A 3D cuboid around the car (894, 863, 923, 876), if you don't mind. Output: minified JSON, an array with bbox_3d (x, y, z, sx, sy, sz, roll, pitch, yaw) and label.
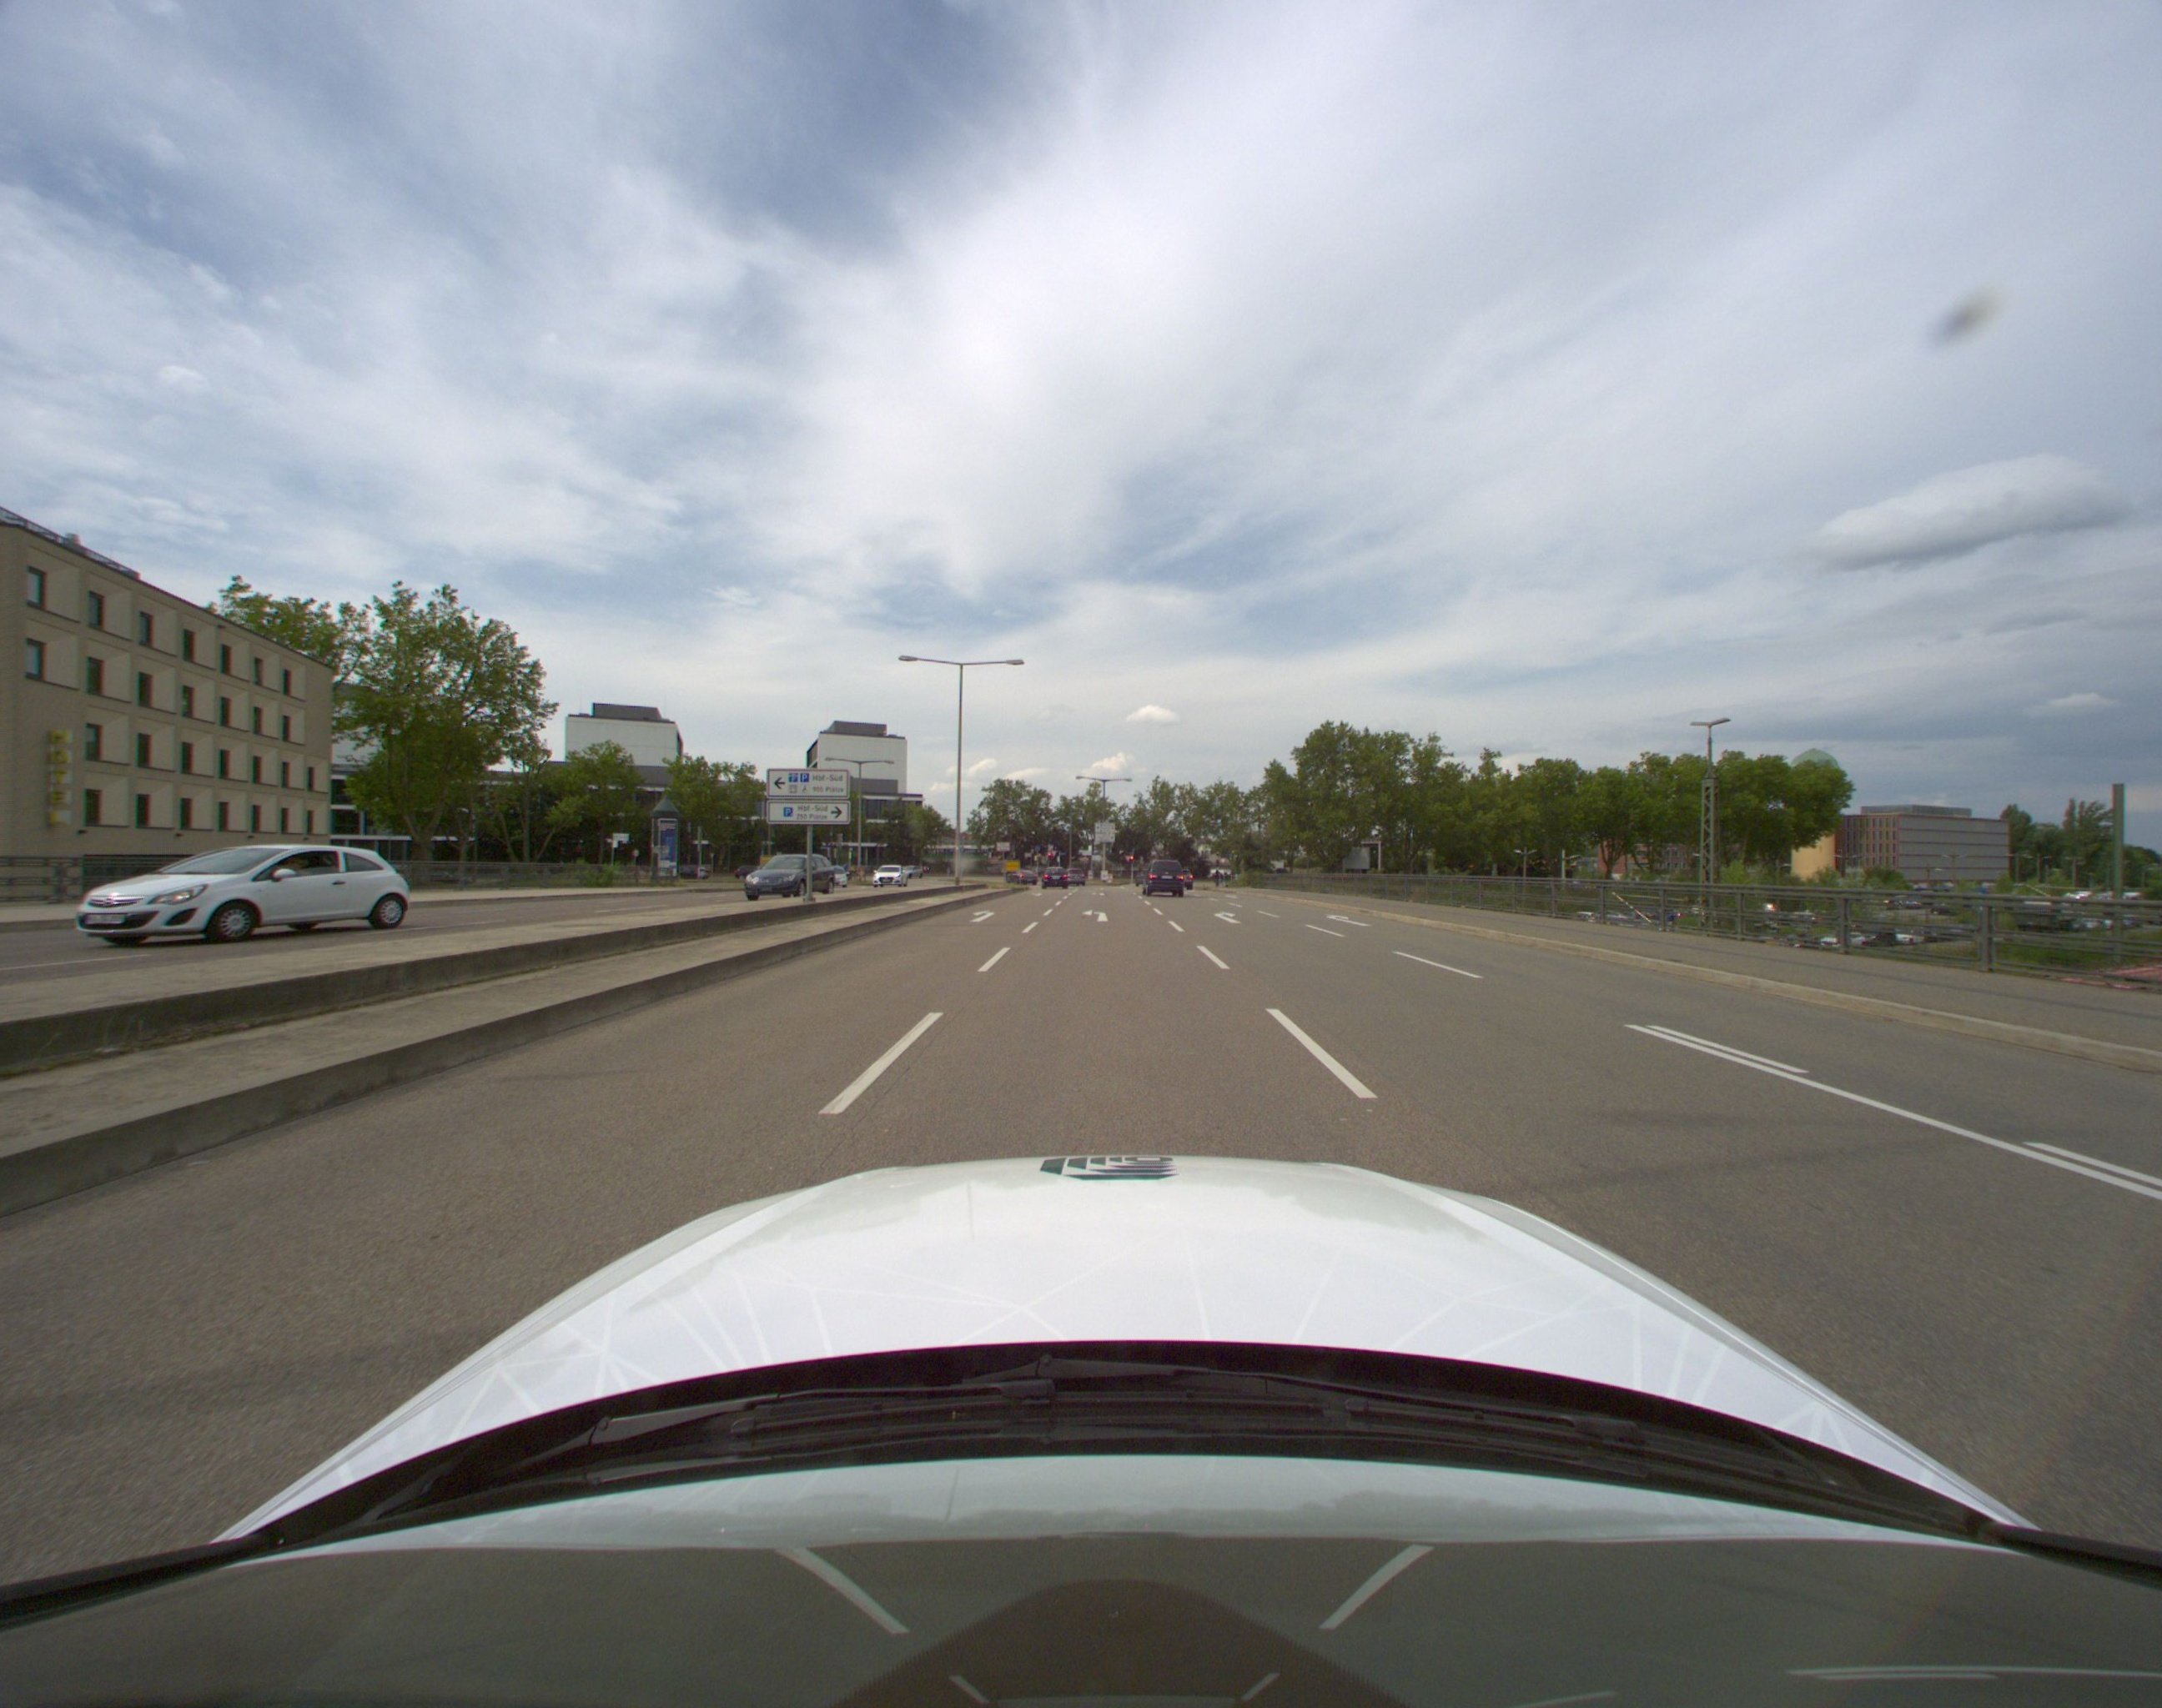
[{"bbox_3d":[-19.408,1.741,91.735,1.604,1.410,3.876,-1,-2,16],"label":"car"}]

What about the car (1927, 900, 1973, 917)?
[{"bbox_3d":[117.889,7.361,110.502,1.767,2.014,3.964,1,-1,-28],"label":"car"}]

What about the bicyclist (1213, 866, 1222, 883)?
[{"bbox_3d":[13.258,1.989,79.261,0.805,1.696,1.119,0,-1,12],"label":"bicyclist"}]

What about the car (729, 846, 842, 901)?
[{"bbox_3d":[-9.513,0.594,26.656,1.880,1.640,4.586,1,0,2],"label":"car"}]

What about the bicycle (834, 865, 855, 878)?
[{"bbox_3d":[-22.601,1.636,77.760,1.908,1.210,0.638,1,-1,-21],"label":"bicycle"}]

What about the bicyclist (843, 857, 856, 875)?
[{"bbox_3d":[-21.340,1.135,75.123,0.801,1.656,0.889,-1,-1,33],"label":"bicyclist"}]

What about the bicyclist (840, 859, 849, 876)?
[{"bbox_3d":[-22.604,1.319,77.748,0.782,1.581,0.650,1,-1,-21],"label":"bicyclist"}]

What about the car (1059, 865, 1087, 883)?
[{"bbox_3d":[-0.738,1.808,73.179,1.743,1.546,4.063,0,-1,-13],"label":"car"}]

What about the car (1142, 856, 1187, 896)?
[{"bbox_3d":[3.979,1.067,39.513,1.744,1.725,4.137,2,-2,1],"label":"car"}]

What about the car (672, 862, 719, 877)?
[{"bbox_3d":[-37.797,1.566,79.985,4.076,1.451,1.689,1,-1,-24],"label":"car"}]

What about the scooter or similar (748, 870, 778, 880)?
[{"bbox_3d":[-27.862,1.822,71.415,0.798,0.849,2.401,0,-1,35],"label":"scooter or similar"}]

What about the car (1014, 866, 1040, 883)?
[{"bbox_3d":[-5.069,1.884,75.654,1.819,1.414,4.758,1,-1,-11],"label":"car"}]

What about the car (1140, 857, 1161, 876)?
[{"bbox_3d":[6.292,1.185,73.985,1.684,1.585,4.157,2,-2,2],"label":"car"}]

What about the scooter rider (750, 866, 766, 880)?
[{"bbox_3d":[-28.160,1.664,70.997,0.798,1.137,0.922,0,-1,35],"label":"scooter rider"}]

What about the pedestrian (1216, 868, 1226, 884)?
[{"bbox_3d":[15.216,2.339,88.514,1.040,1.710,0.856,1,-1,12],"label":"pedestrian"}]

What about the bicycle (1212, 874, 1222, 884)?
[{"bbox_3d":[13.247,2.437,79.228,0.803,0.952,2.242,0,-1,12],"label":"bicycle"}]

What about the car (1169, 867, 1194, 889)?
[{"bbox_3d":[7.833,1.886,63.727,1.742,1.643,4.144,2,-2,6],"label":"car"}]

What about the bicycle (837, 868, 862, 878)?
[{"bbox_3d":[-21.349,1.757,75.094,0.801,0.952,2.249,-1,-1,34],"label":"bicycle"}]

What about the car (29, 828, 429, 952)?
[{"bbox_3d":[-13.089,0.494,13.013,1.881,1.640,4.217,1,0,0],"label":"car"}]

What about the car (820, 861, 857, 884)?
[{"bbox_3d":[-17.314,1.285,58.034,1.928,1.526,4.842,-1,0,-24],"label":"car"}]

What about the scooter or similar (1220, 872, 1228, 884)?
[{"bbox_3d":[13.408,2.242,76.435,0.396,1.183,1.278,0,-2,-6],"label":"scooter or similar"}]

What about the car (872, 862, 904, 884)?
[{"bbox_3d":[-13.037,1.251,54.764,1.922,1.415,4.855,-1,0,-15],"label":"car"}]

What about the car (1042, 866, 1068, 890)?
[{"bbox_3d":[-1.884,1.731,59.303,1.752,1.575,4.034,1,0,-2],"label":"car"}]
